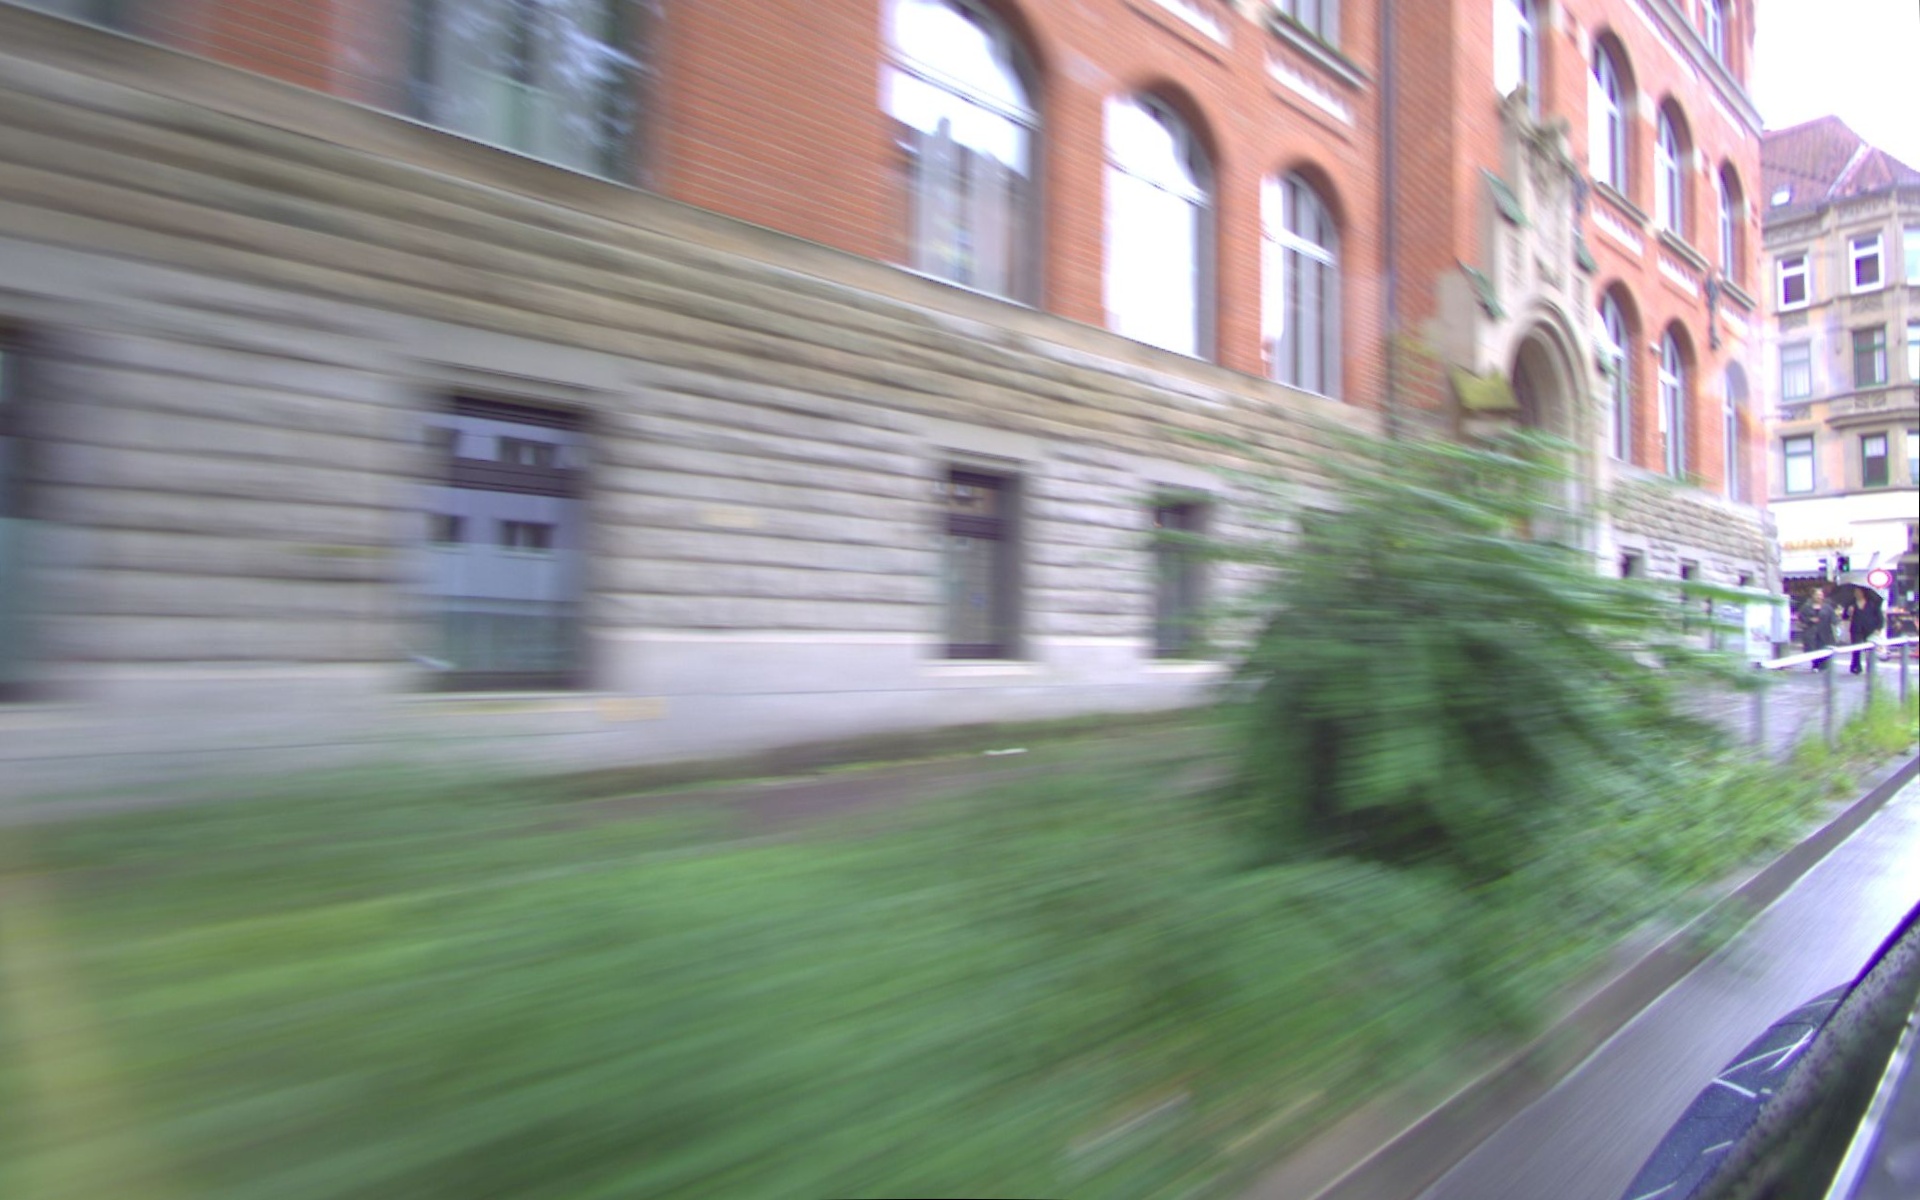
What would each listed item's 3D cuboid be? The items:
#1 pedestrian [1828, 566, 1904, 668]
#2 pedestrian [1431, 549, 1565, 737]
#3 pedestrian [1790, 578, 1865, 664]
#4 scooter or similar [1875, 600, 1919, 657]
[{"bbox_3d":[17.702,0.305,19.777,1.054,1.911,0.960,0,1,-39],"label":"pedestrian"},{"bbox_3d":[5.171,0.384,9.737,0.844,1.700,0.825,-1,0,-36],"label":"pedestrian"},{"bbox_3d":[17.092,0.388,19.942,1.054,1.646,0.960,-1,1,-39],"label":"pedestrian"},{"bbox_3d":[22.181,0.658,23.488,0.624,1.266,1.253,-1,1,-17],"label":"scooter or similar"}]
